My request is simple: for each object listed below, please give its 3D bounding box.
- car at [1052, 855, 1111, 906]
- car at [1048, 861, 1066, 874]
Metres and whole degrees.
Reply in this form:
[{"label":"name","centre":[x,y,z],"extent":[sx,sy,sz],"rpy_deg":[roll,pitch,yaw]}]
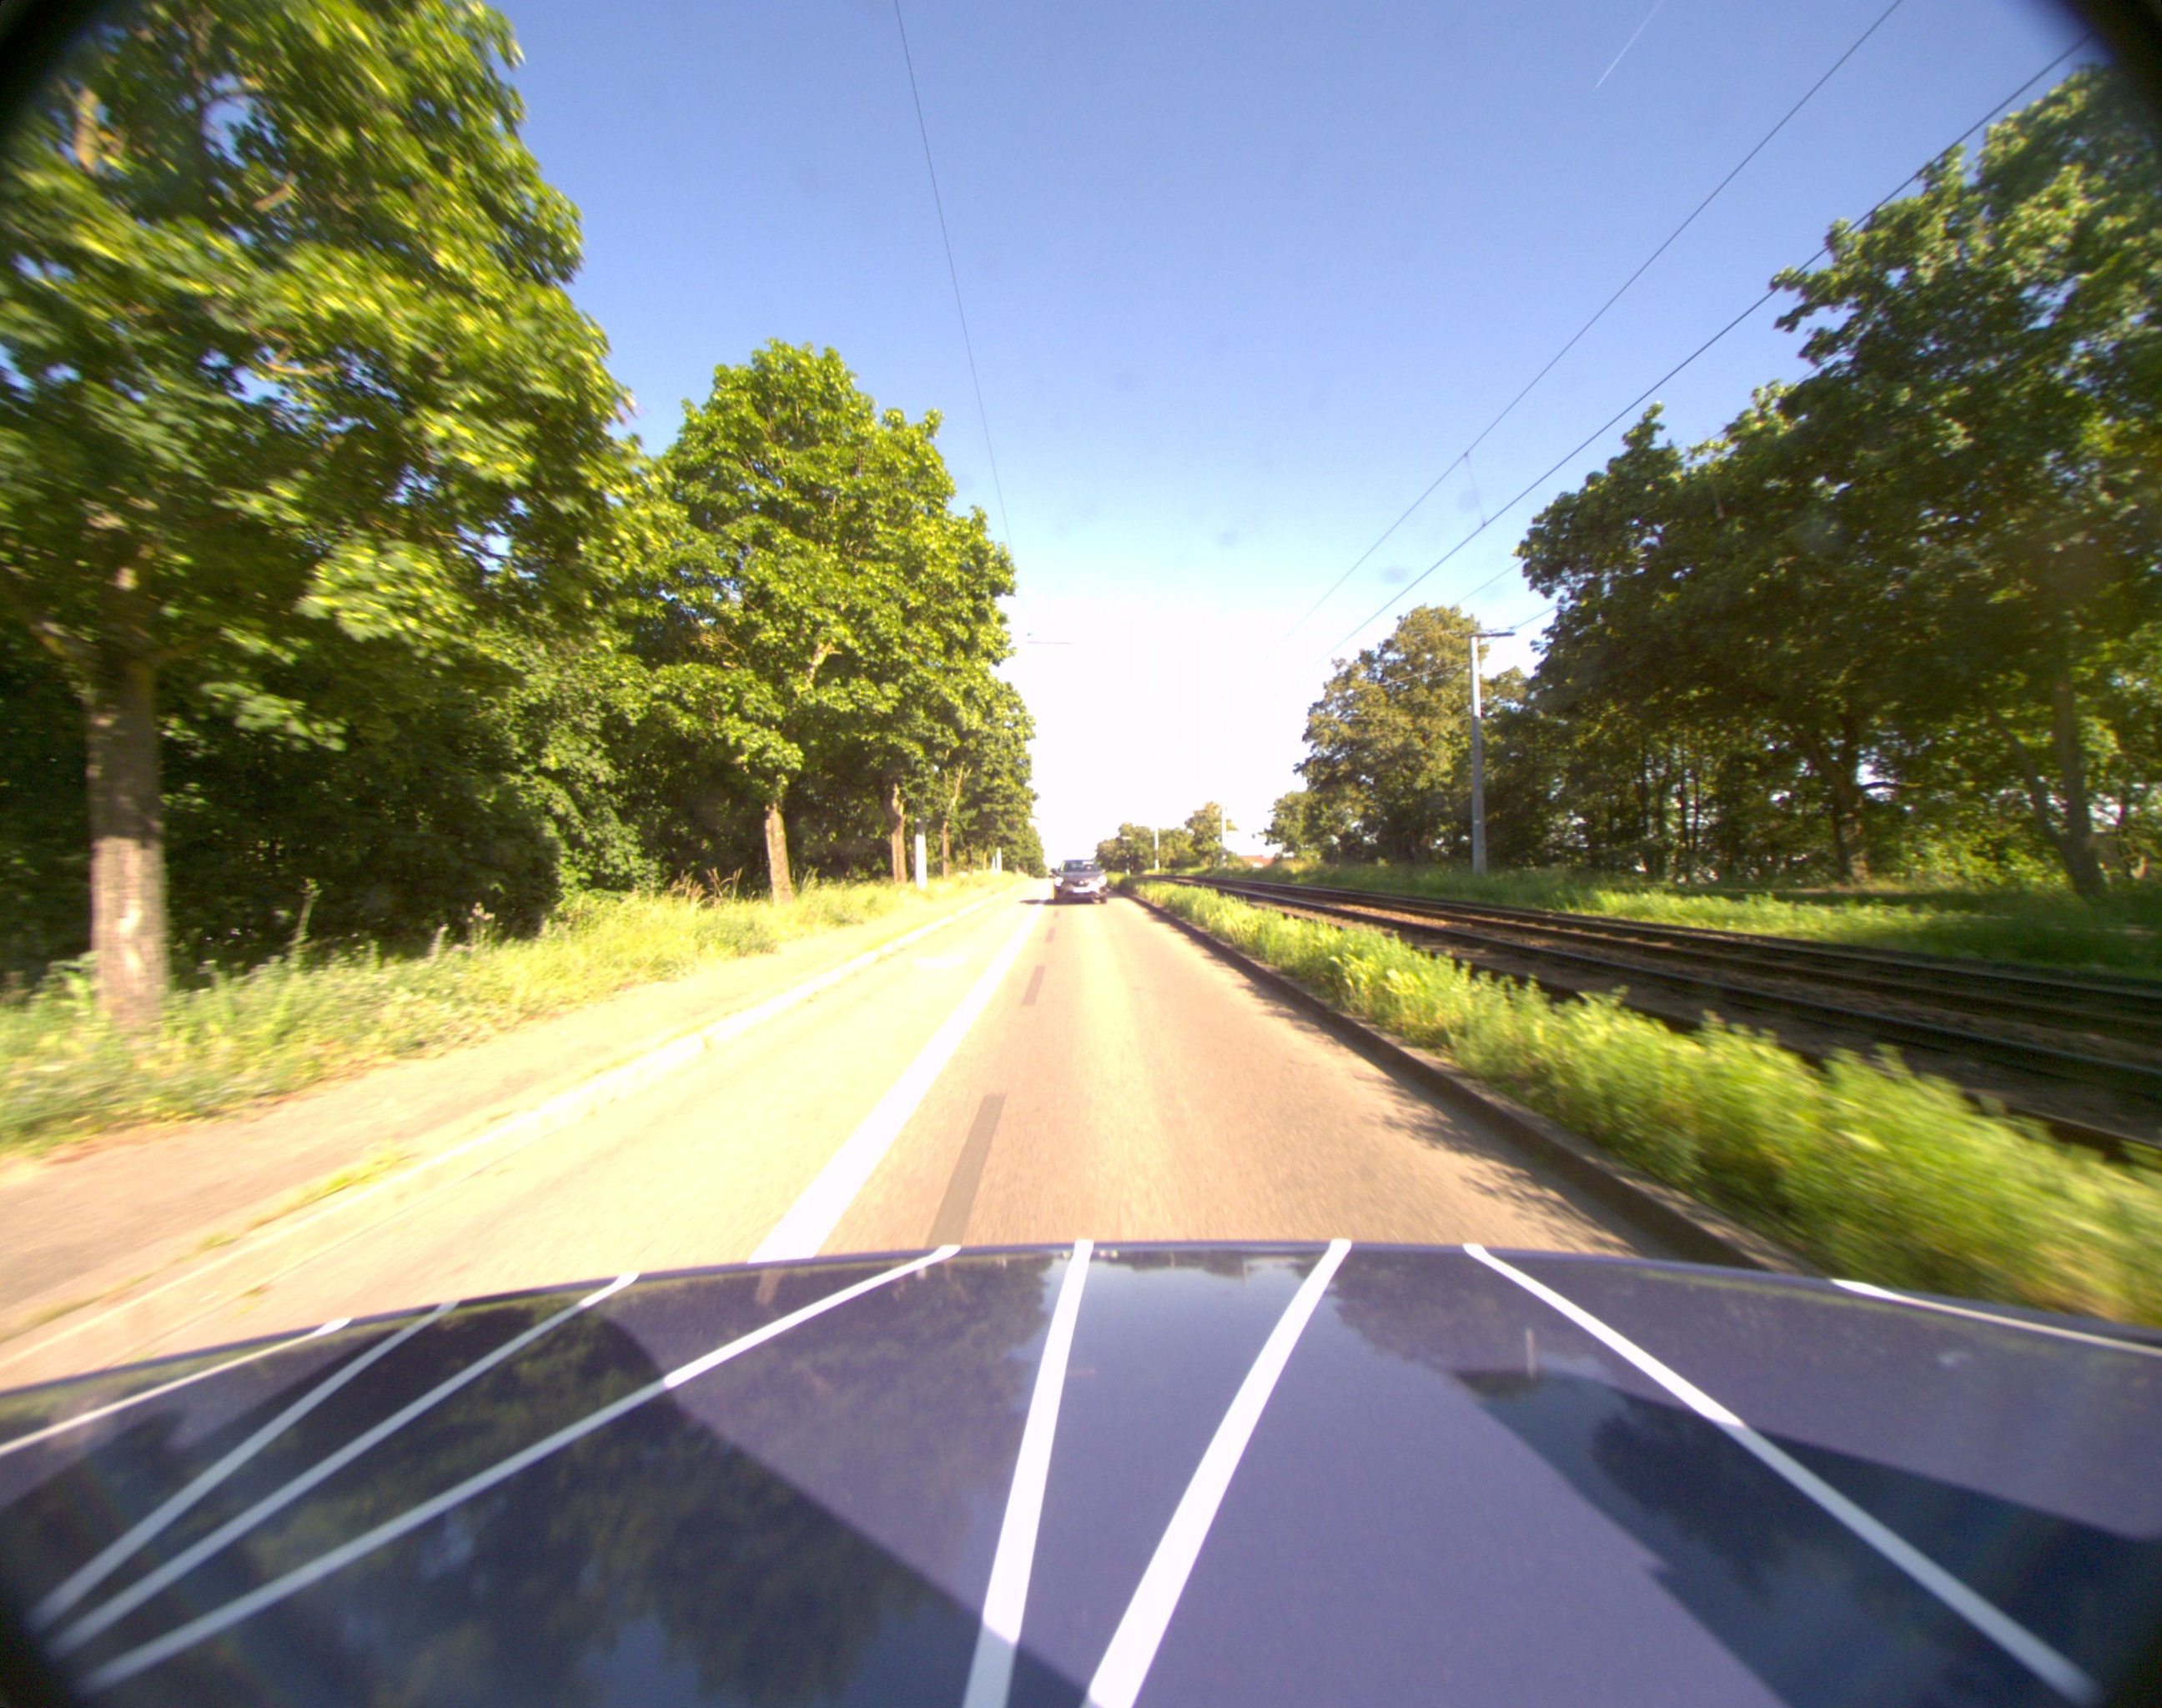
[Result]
[{"label":"car","centre":[-0.051,0.869,26.995],"extent":[1.822,1.589,4.412],"rpy_deg":[-3,0,-3]},{"label":"car","centre":[-3.141,1.714,98.485],"extent":[1.999,1.577,3.998],"rpy_deg":[-3,0,-5]}]
